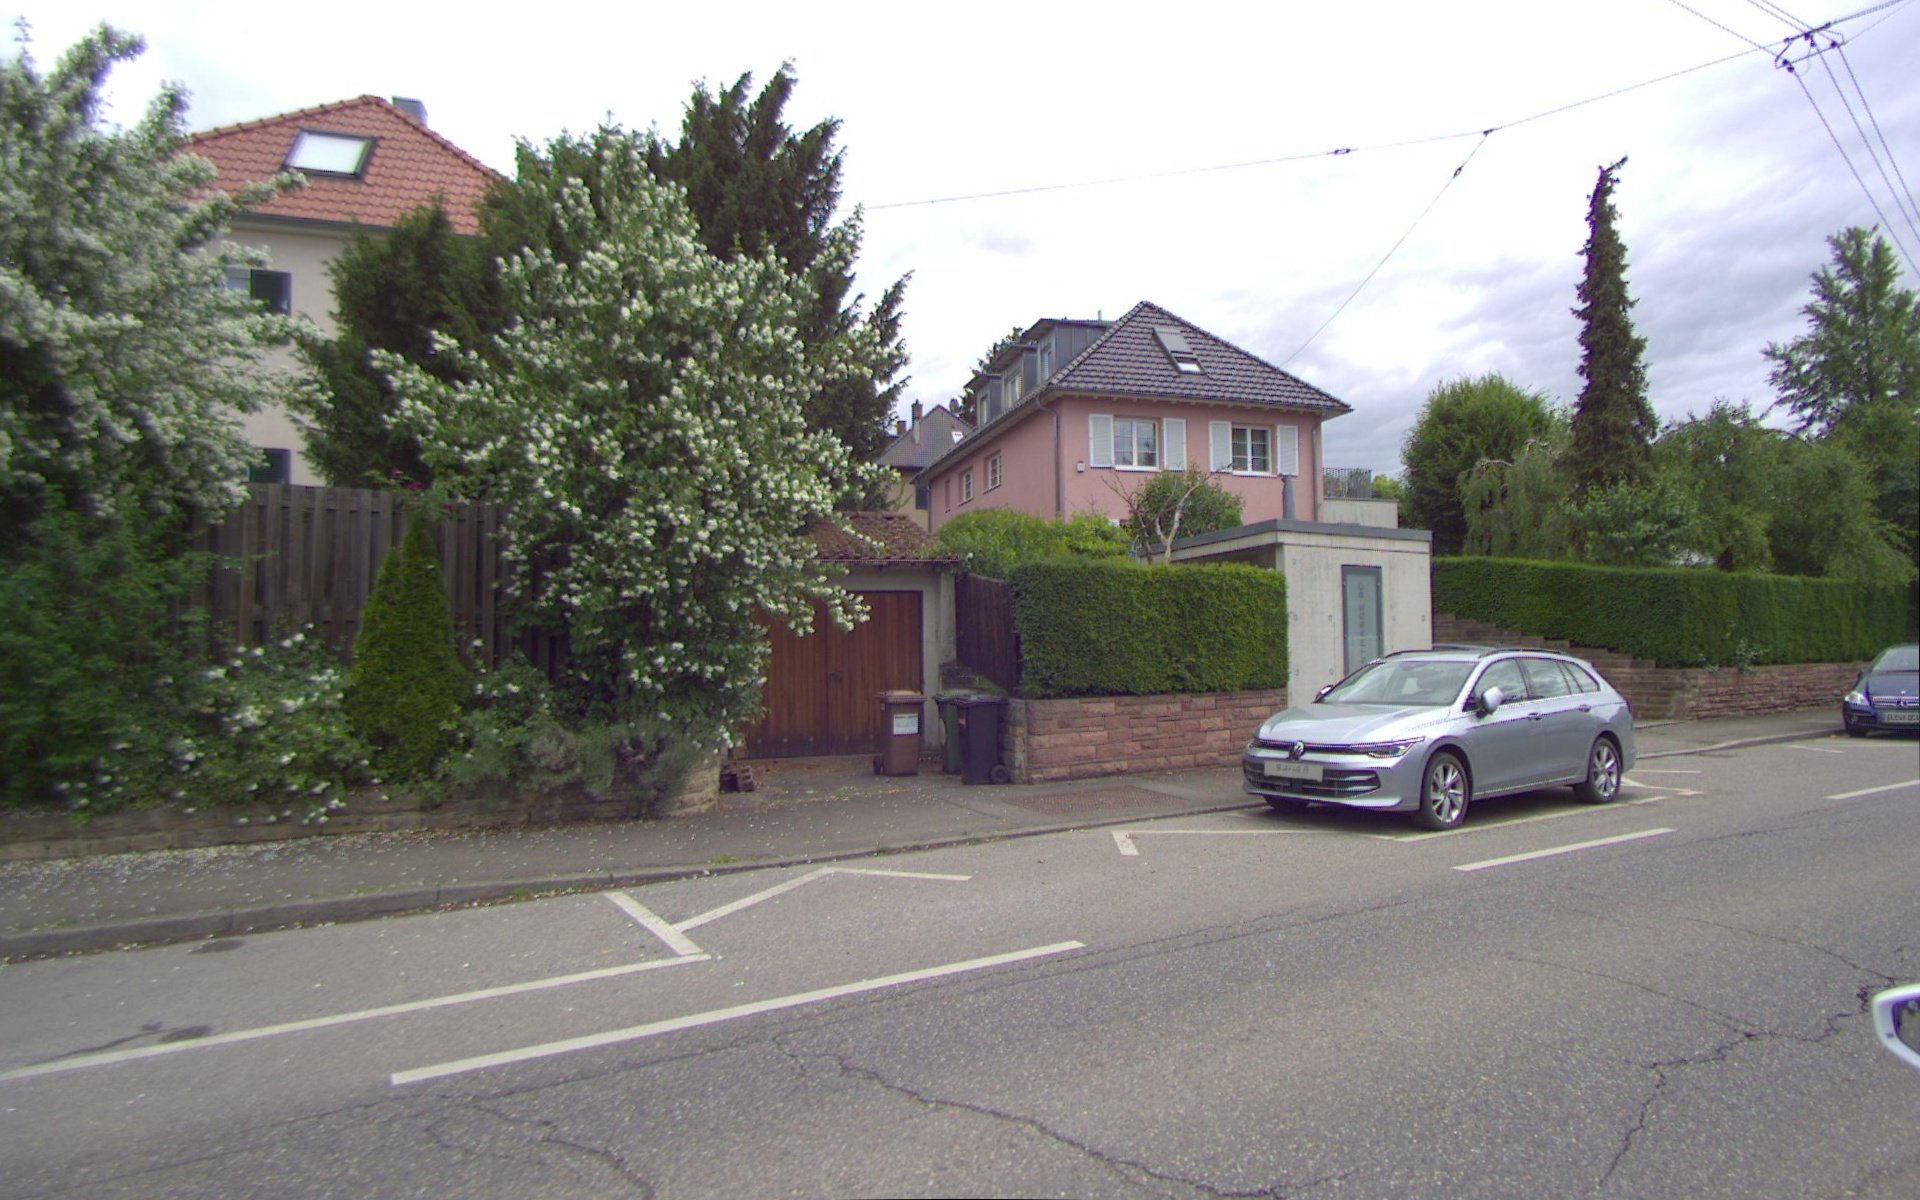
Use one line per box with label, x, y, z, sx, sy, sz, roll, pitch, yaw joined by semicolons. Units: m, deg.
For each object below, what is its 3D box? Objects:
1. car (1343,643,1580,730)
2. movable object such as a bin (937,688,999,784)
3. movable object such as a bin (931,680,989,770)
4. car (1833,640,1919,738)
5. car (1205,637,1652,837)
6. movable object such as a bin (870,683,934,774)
car;9.066;1.511;18.478;1.823;1.409;3.582;0;-2;-22
movable object such as a bin;0.081;1.422;10.622;0.501;0.954;0.538;1;-2;-19
movable object such as a bin;-0.002;1.400;11.359;0.501;0.954;0.538;1;-2;-19
car;16.964;1.491;17.387;3.928;1.576;1.670;1;-4;-32
car;4.556;1.136;9.566;4.366;1.474;1.799;1;-4;-33
movable object such as a bin;-0.652;1.422;11.240;0.607;0.954;0.447;1;-2;-20
